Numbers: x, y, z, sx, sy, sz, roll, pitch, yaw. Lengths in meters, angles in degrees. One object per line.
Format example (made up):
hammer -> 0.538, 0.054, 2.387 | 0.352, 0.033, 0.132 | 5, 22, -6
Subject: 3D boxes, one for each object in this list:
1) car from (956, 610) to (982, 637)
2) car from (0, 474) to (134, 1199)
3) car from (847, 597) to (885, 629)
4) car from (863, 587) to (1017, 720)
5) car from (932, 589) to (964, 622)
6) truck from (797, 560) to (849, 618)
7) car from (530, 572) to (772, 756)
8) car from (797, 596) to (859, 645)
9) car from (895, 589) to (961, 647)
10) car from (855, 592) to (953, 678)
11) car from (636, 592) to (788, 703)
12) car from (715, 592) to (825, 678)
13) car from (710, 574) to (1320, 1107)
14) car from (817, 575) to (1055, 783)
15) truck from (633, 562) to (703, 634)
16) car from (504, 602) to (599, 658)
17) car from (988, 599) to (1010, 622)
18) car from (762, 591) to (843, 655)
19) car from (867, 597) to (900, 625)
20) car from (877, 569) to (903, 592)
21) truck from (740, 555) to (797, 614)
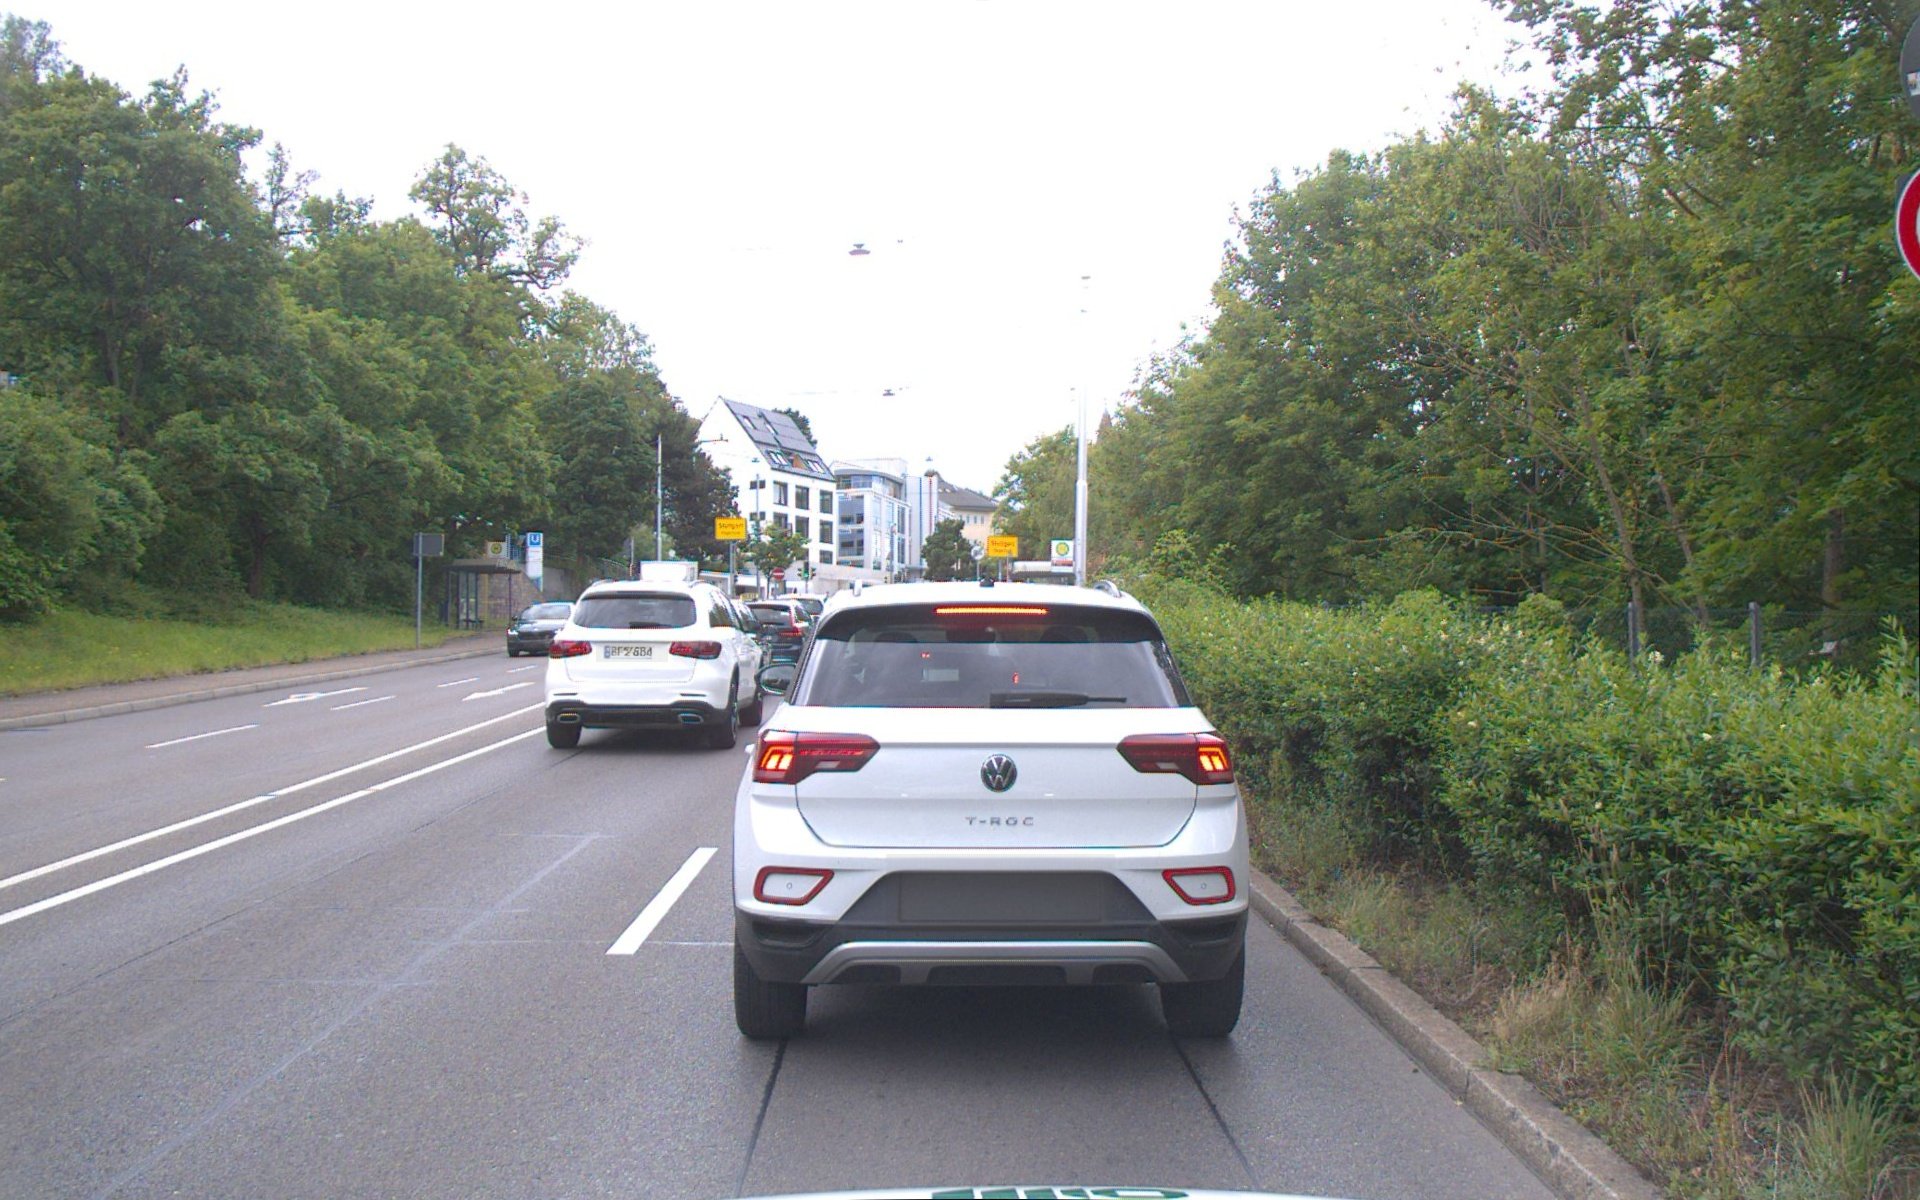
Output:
car -> 0.695, 1.835, 128.097 | 1.953, 2.049, 3.999 | -1, -1, 0
car -> -2.602, 0.608, 1.344 | 1.812, 1.680, 4.355 | 0, 0, -2
car -> -4.812, 0.646, 84.893 | 1.792, 1.552, 3.999 | -1, 0, -2
car -> -0.293, 0.627, 21.553 | 1.792, 1.552, 3.999 | -1, 0, -2
car -> -0.771, 0.362, 105.395 | 1.953, 2.049, 3.999 | -1, 0, -1
truck -> -7.014, -0.543, 85.106 | 2.315, 2.830, 4.476 | -1, 0, -2
car -> -3.101, 0.597, 17.407 | 1.879, 1.699, 3.999 | 1, 0, -2
car -> -4.319, 0.645, 54.511 | 1.792, 1.552, 3.999 | -1, 0, -2
car -> -0.933, 0.491, 47.084 | 1.792, 1.552, 3.999 | -1, 0, -2
car -> -1.086, 0.644, 32.657 | 1.792, 1.552, 3.999 | -1, 0, -2
car -> -3.662, 0.659, 25.069 | 1.792, 1.523, 3.999 | -1, 0, -2
car -> -3.641, 0.639, 32.304 | 1.792, 1.552, 3.999 | -1, 0, -2
car -> 0.111, 0.699, 6.868 | 1.792, 1.552, 3.999 | 0, 0, -2
car -> -0.240, 0.593, 14.590 | 1.792, 1.552, 3.999 | -1, 0, -2
truck -> -13.332, -0.080, 75.906 | 2.247, 3.104, 6.975 | -1, 0, -3
car -> -11.365, 0.803, 46.274 | 1.645, 1.420, 4.359 | -1, 0, -2
car -> 3.650, 0.957, 154.827 | 1.953, 2.049, 3.999 | -1, -1, 0
car -> -4.032, 0.575, 42.898 | 1.792, 1.552, 3.999 | -1, 0, -2
car -> -4.408, 0.607, 96.007 | 1.792, 1.552, 3.999 | -1, 0, -2
car -> -4.915, -1.396, 116.649 | 1.792, 1.552, 3.999 | -1, 0, -2
truck -> -9.313, -0.730, 80.644 | 2.315, 2.754, 4.476 | -1, 0, -2
